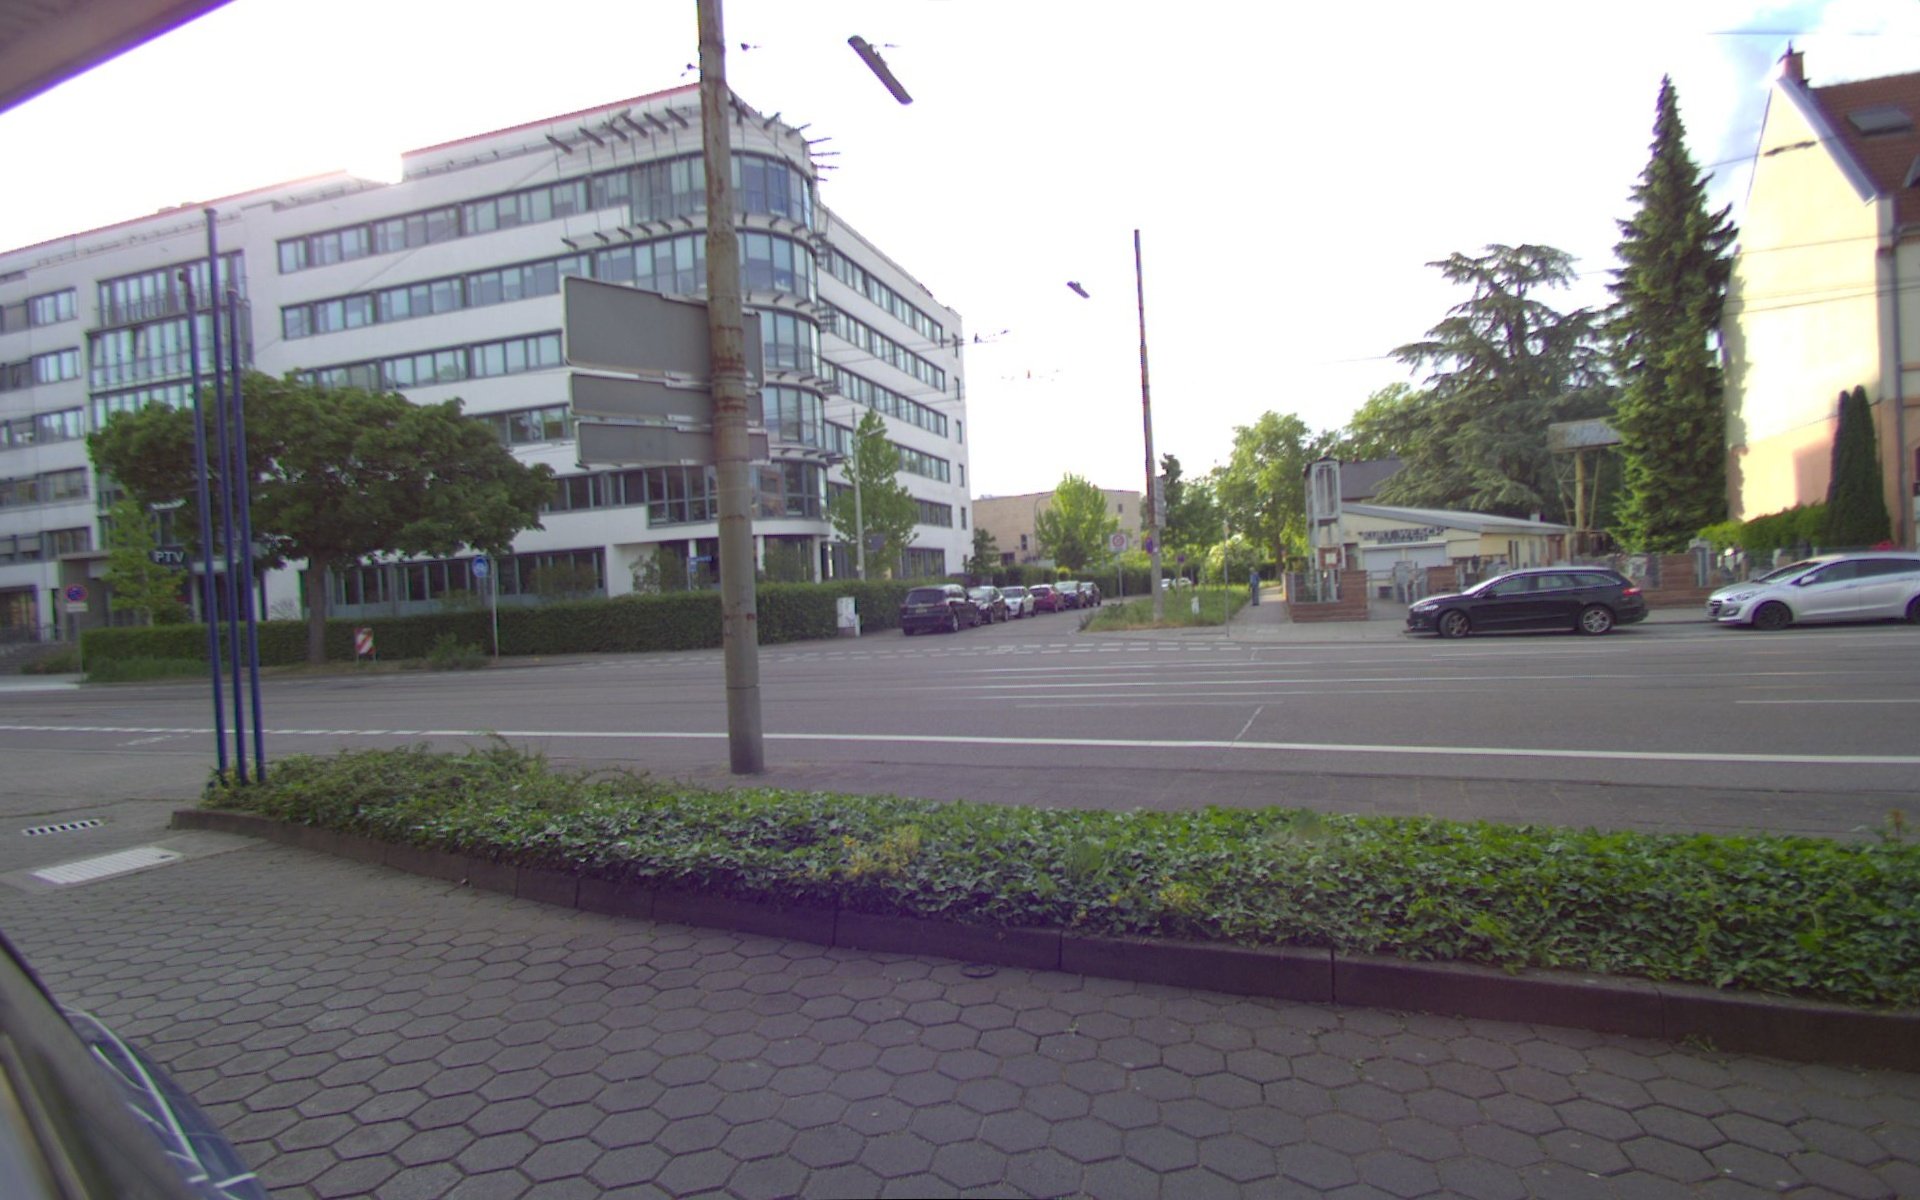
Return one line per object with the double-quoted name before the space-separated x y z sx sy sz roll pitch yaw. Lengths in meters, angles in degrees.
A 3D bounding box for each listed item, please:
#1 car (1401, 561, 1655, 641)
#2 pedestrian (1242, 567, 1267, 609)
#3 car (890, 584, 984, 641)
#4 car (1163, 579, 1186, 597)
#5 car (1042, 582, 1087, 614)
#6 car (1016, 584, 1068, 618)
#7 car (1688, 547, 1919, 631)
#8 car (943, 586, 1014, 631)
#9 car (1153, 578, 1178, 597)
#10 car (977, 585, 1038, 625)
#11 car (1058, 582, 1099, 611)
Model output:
"car" 12.914 0.044 23.411 4.791 1.507 1.986 -4 0 22
"pedestrian" 13.111 -0.514 45.154 0.996 1.843 1.087 -1 0 14
"car" -0.724 0.384 35.533 1.962 1.625 4.411 -4 2 17
"car" 22.567 -1.281 106.306 1.774 1.653 4.060 -4 0 19
"car" 5.981 -0.129 57.657 1.773 1.653 4.064 -4 0 17
"car" 4.286 0.029 52.356 1.773 1.552 4.018 -4 0 17
"car" 18.490 -0.258 21.493 4.459 1.486 1.986 -4 0 22
"car" 0.797 0.293 40.890 1.773 1.565 4.083 -4 0 17
"car" 20.428 -1.254 100.609 1.774 1.653 4.060 -4 0 19
"car" 2.205 0.181 45.751 1.773 1.565 4.083 -4 0 17
"car" 7.372 -0.225 62.667 1.773 1.653 4.064 -4 0 17
